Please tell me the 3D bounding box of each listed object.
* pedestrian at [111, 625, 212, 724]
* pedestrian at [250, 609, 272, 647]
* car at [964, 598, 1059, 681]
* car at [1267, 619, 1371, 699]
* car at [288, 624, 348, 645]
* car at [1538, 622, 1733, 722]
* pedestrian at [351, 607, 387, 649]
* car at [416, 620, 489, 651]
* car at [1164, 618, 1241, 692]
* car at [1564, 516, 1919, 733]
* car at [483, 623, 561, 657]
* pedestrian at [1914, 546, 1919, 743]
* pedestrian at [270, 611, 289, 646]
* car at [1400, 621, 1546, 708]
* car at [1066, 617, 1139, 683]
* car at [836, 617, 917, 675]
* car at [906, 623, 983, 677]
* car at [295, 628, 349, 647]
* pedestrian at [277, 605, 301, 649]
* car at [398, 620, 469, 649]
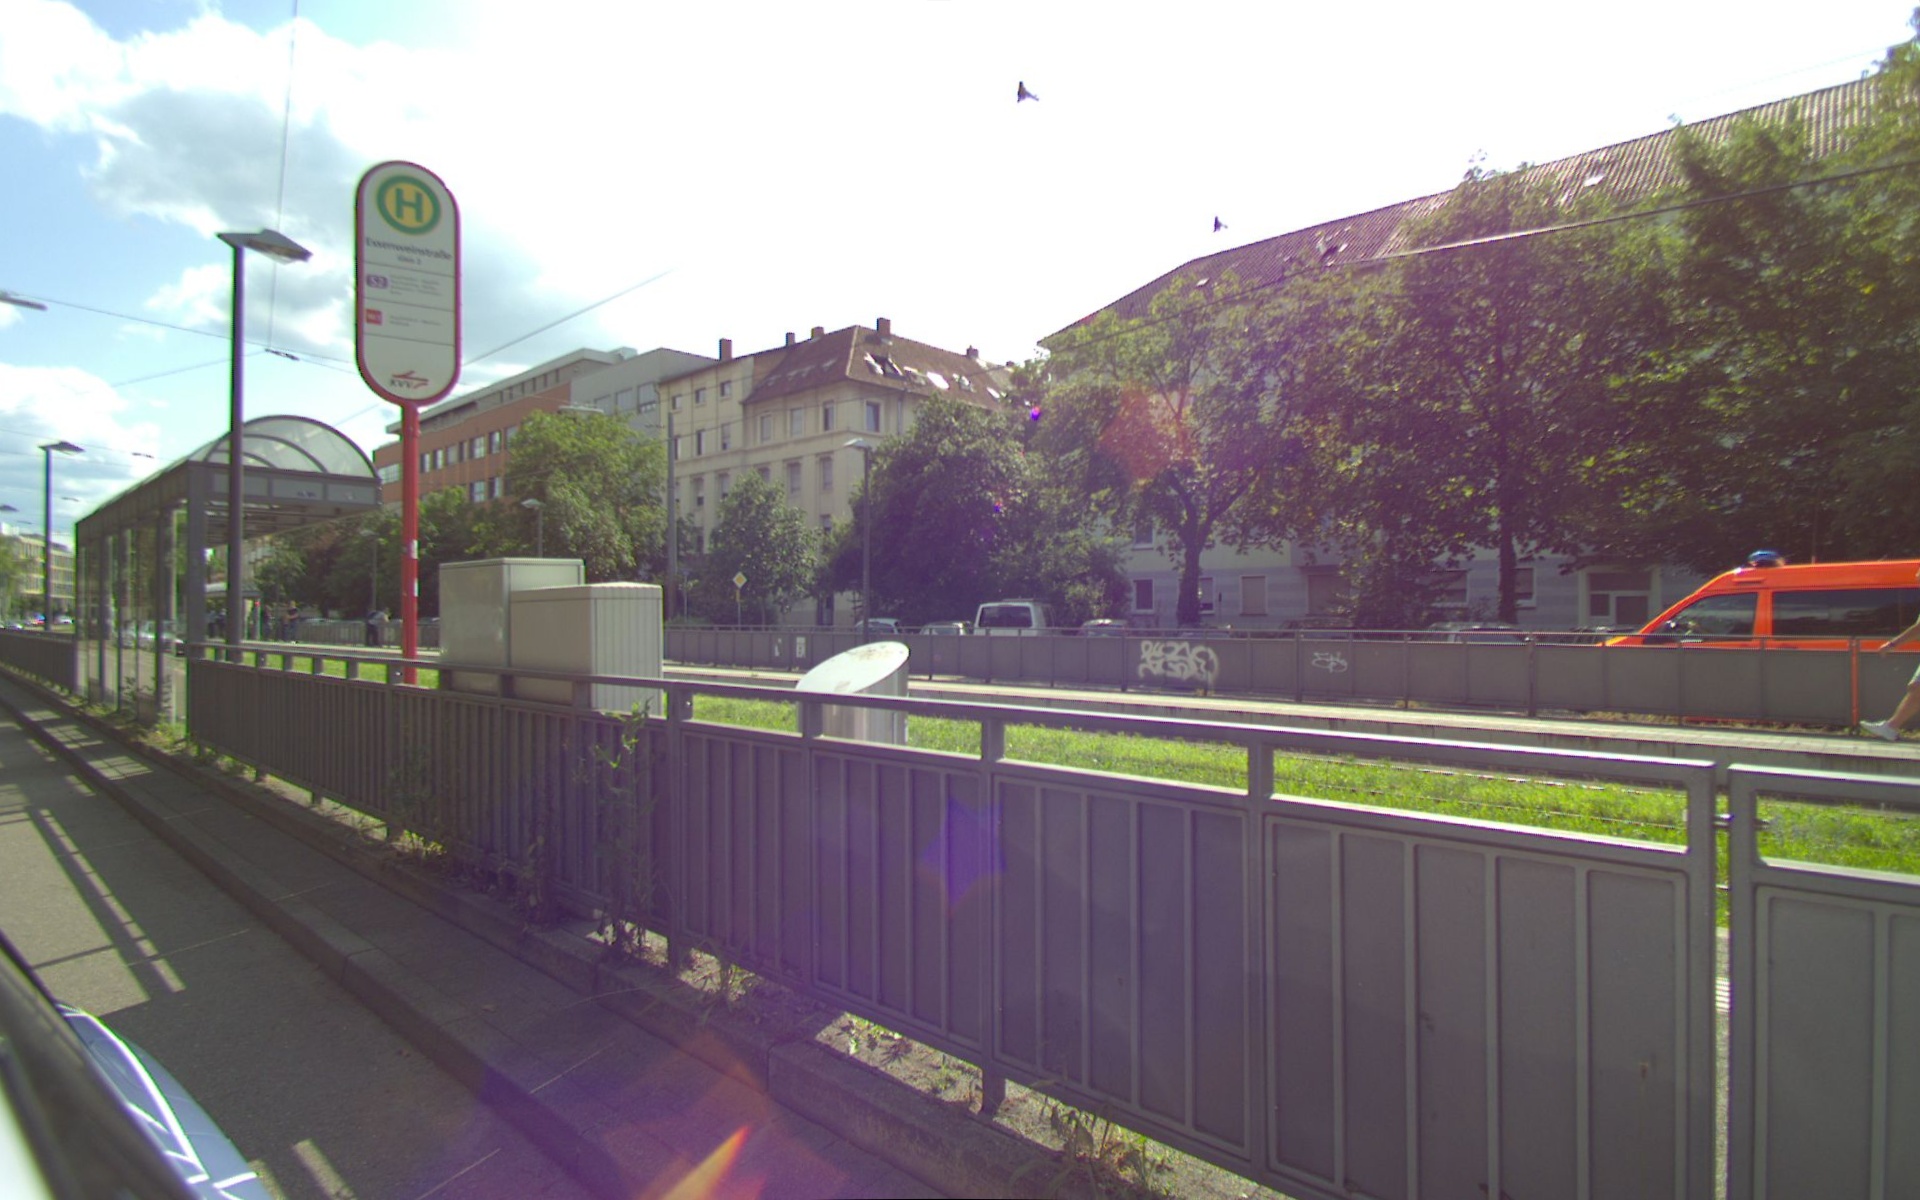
[{"bbox_3d":[-9.162,0.838,11.635,0.652,1.080,0.725,0,-2,-13],"label":"pedestrian"},{"bbox_3d":[-33.318,1.335,48.249,0.599,1.767,0.626,0,-1,-7],"label":"pedestrian"},{"bbox_3d":[1.500,1.052,27.815,2.029,2.086,3.937,-1,-1,12],"label":"car"},{"bbox_3d":[7.740,1.225,22.112,1.632,1.591,3.652,-1,-1,12],"label":"car"},{"bbox_3d":[-47.971,2.542,75.707,1.631,1.508,3.993,-1,-1,6],"label":"car"},{"bbox_3d":[11.908,1.192,18.131,1.632,1.591,3.652,-1,-1,12],"label":"car"},{"bbox_3d":[-22.957,1.071,39.311,0.798,1.590,0.978,-1,-1,40],"label":"pedestrian"},{"bbox_3d":[-28.403,1.950,56.817,1.811,1.652,4.132,1,-1,3],"label":"car"},{"bbox_3d":[5.685,1.242,23.969,1.632,1.591,3.652,-1,-1,12],"label":"car"},{"bbox_3d":[10.161,0.318,12.024,4.833,2.293,1.972,-1,-4,43],"label":"car"},{"bbox_3d":[-21.543,1.937,49.987,1.901,1.576,4.150,1,-1,2],"label":"car"},{"bbox_3d":[8.467,0.386,8.487,0.632,1.677,0.653,-1,-2,42],"label":"pedestrian"},{"bbox_3d":[-32.732,1.356,48.684,0.625,1.687,0.600,-1,-1,43],"label":"pedestrian"},{"bbox_3d":[9.852,1.169,19.744,1.593,1.525,4.011,0,-1,13],"label":"car"},{"bbox_3d":[3.804,1.254,26.523,1.701,1.591,3.937,-1,-1,11],"label":"car"},{"bbox_3d":[-2.544,1.397,31.846,1.805,1.652,3.992,-2,-1,6],"label":"car"},{"bbox_3d":[-0.396,1.447,30.196,1.591,1.497,3.988,-1,-1,9],"label":"car"},{"bbox_3d":[-45.815,2.659,72.730,1.585,1.314,3.244,-1,-1,8],"label":"car"},{"bbox_3d":[-29.859,1.186,45.033,0.742,1.906,0.639,1,1,-45],"label":"pedestrian"},{"bbox_3d":[-30.534,1.991,58.777,1.591,1.580,3.988,-1,-1,9],"label":"car"}]
